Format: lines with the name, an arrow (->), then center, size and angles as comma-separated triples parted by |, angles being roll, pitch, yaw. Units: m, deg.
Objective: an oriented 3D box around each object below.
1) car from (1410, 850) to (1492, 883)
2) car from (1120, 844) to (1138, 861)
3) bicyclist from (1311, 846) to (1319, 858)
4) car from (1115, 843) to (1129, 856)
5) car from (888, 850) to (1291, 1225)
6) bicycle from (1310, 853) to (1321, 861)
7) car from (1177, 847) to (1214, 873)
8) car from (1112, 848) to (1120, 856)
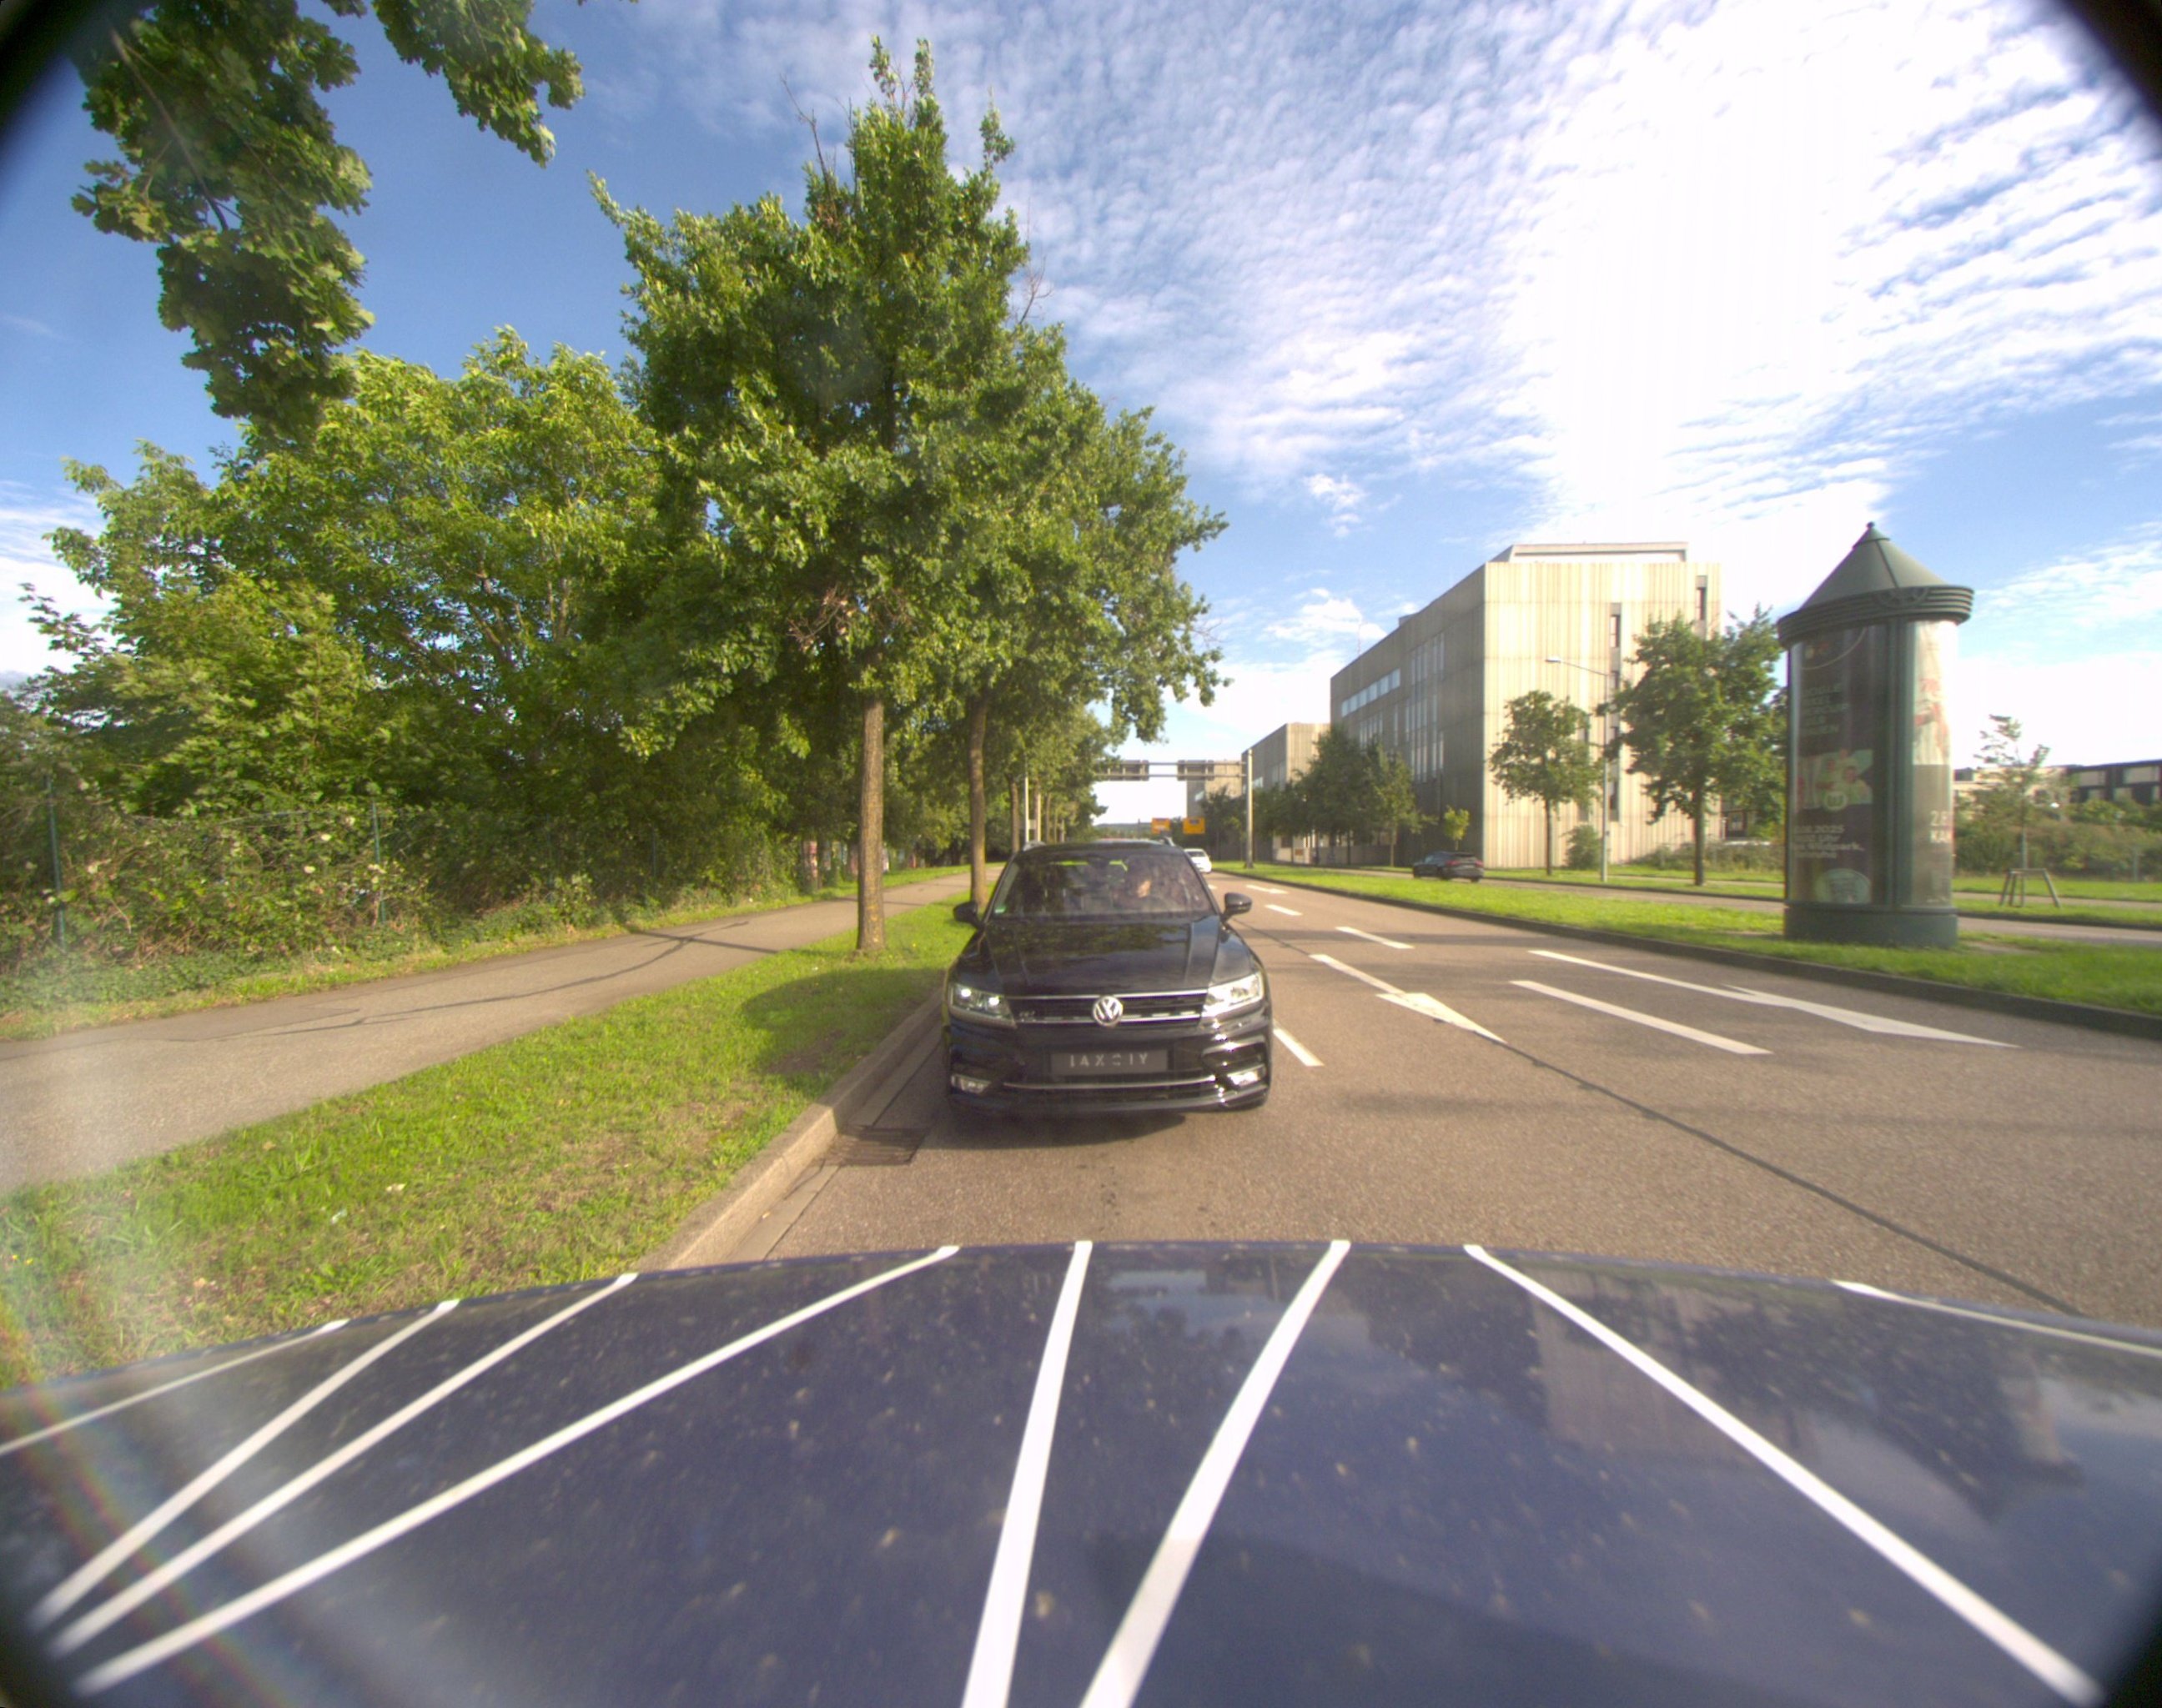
car -> 17.738, 0.572, 36.685 | 1.905, 1.402, 4.207 | 2, 1, 0
car -> 5.230, -0.175, 83.240 | 1.758, 1.696, 4.000 | -1, 0, 0
bicyclist -> 29.941, -0.276, 97.050 | 0.707, 1.517, 0.989 | 0, 1, 1
car -> 5.139, -0.561, 94.802 | 1.598, 1.660, 3.632 | 0, 0, 0
car -> 0.093, 0.832, 5.375 | 1.775, 1.637, 3.868 | -2, 1, 2
bicycle -> 29.941, 0.359, 97.020 | 0.897, 0.975, 1.911 | 0, 0, 1
car -> 6.798, 0.307, 45.444 | 1.745, 1.455, 4.000 | -1, 1, 3
car -> 9.196, -0.474, 200.244 | 1.798, 2.002, 4.000 | 0, 0, 0
